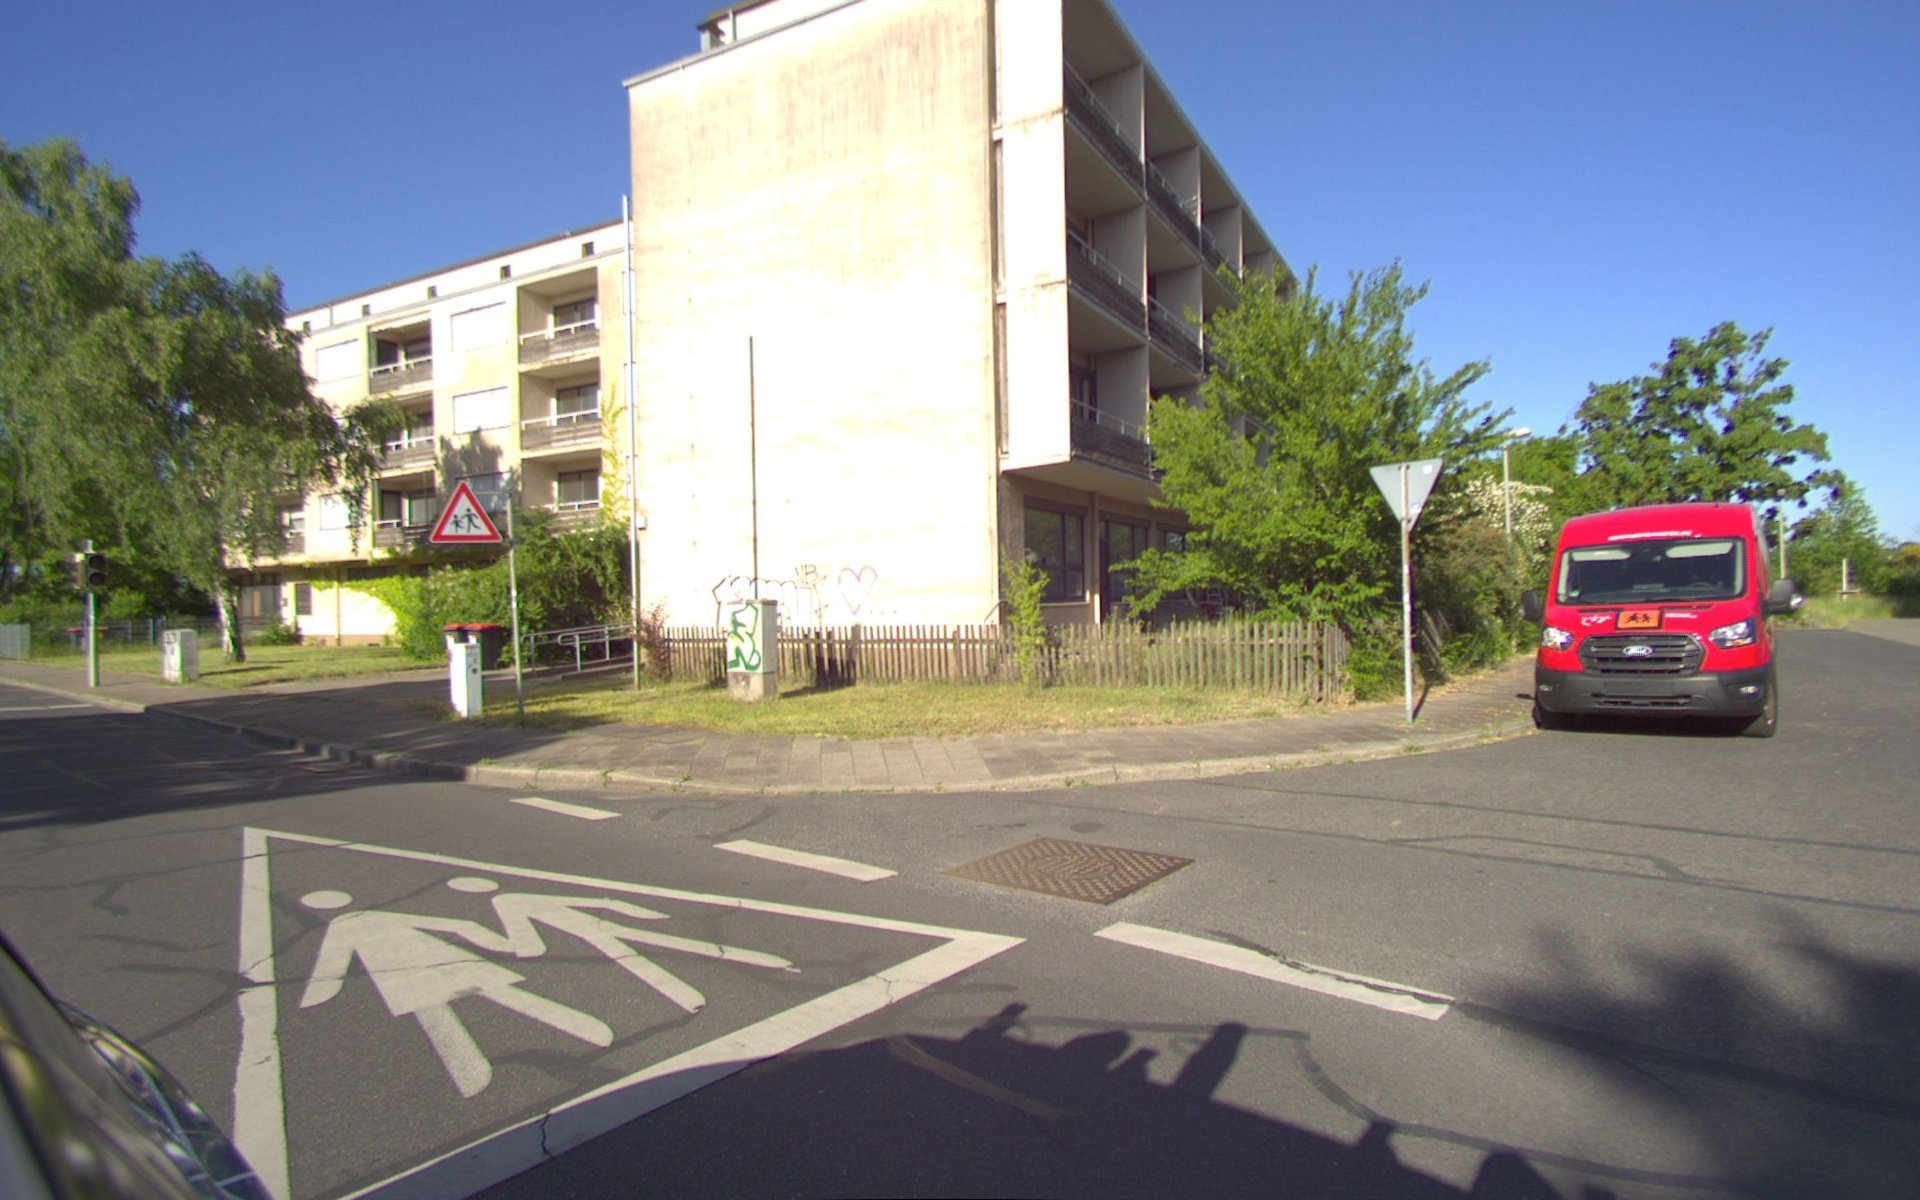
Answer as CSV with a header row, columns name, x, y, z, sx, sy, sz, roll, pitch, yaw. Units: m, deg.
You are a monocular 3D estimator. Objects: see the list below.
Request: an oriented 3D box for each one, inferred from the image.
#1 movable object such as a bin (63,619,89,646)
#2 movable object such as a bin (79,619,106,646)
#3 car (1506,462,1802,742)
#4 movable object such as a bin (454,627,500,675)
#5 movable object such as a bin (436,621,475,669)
name,x,y,z,sx,sy,sz,roll,pitch,yaw
movable object such as a bin,-34.360,1.266,39.333,0.709,1.032,0.616,-2,-1,33
movable object such as a bin,-34.098,1.272,39.774,0.709,1.032,0.616,-2,-1,33
car,8.298,0.061,11.795,2.211,2.447,5.845,-3,-2,40
movable object such as a bin,-10.909,1.142,22.871,0.696,1.056,0.625,-1,0,17
movable object such as a bin,-11.511,1.026,23.090,0.552,1.061,0.561,-1,0,18
